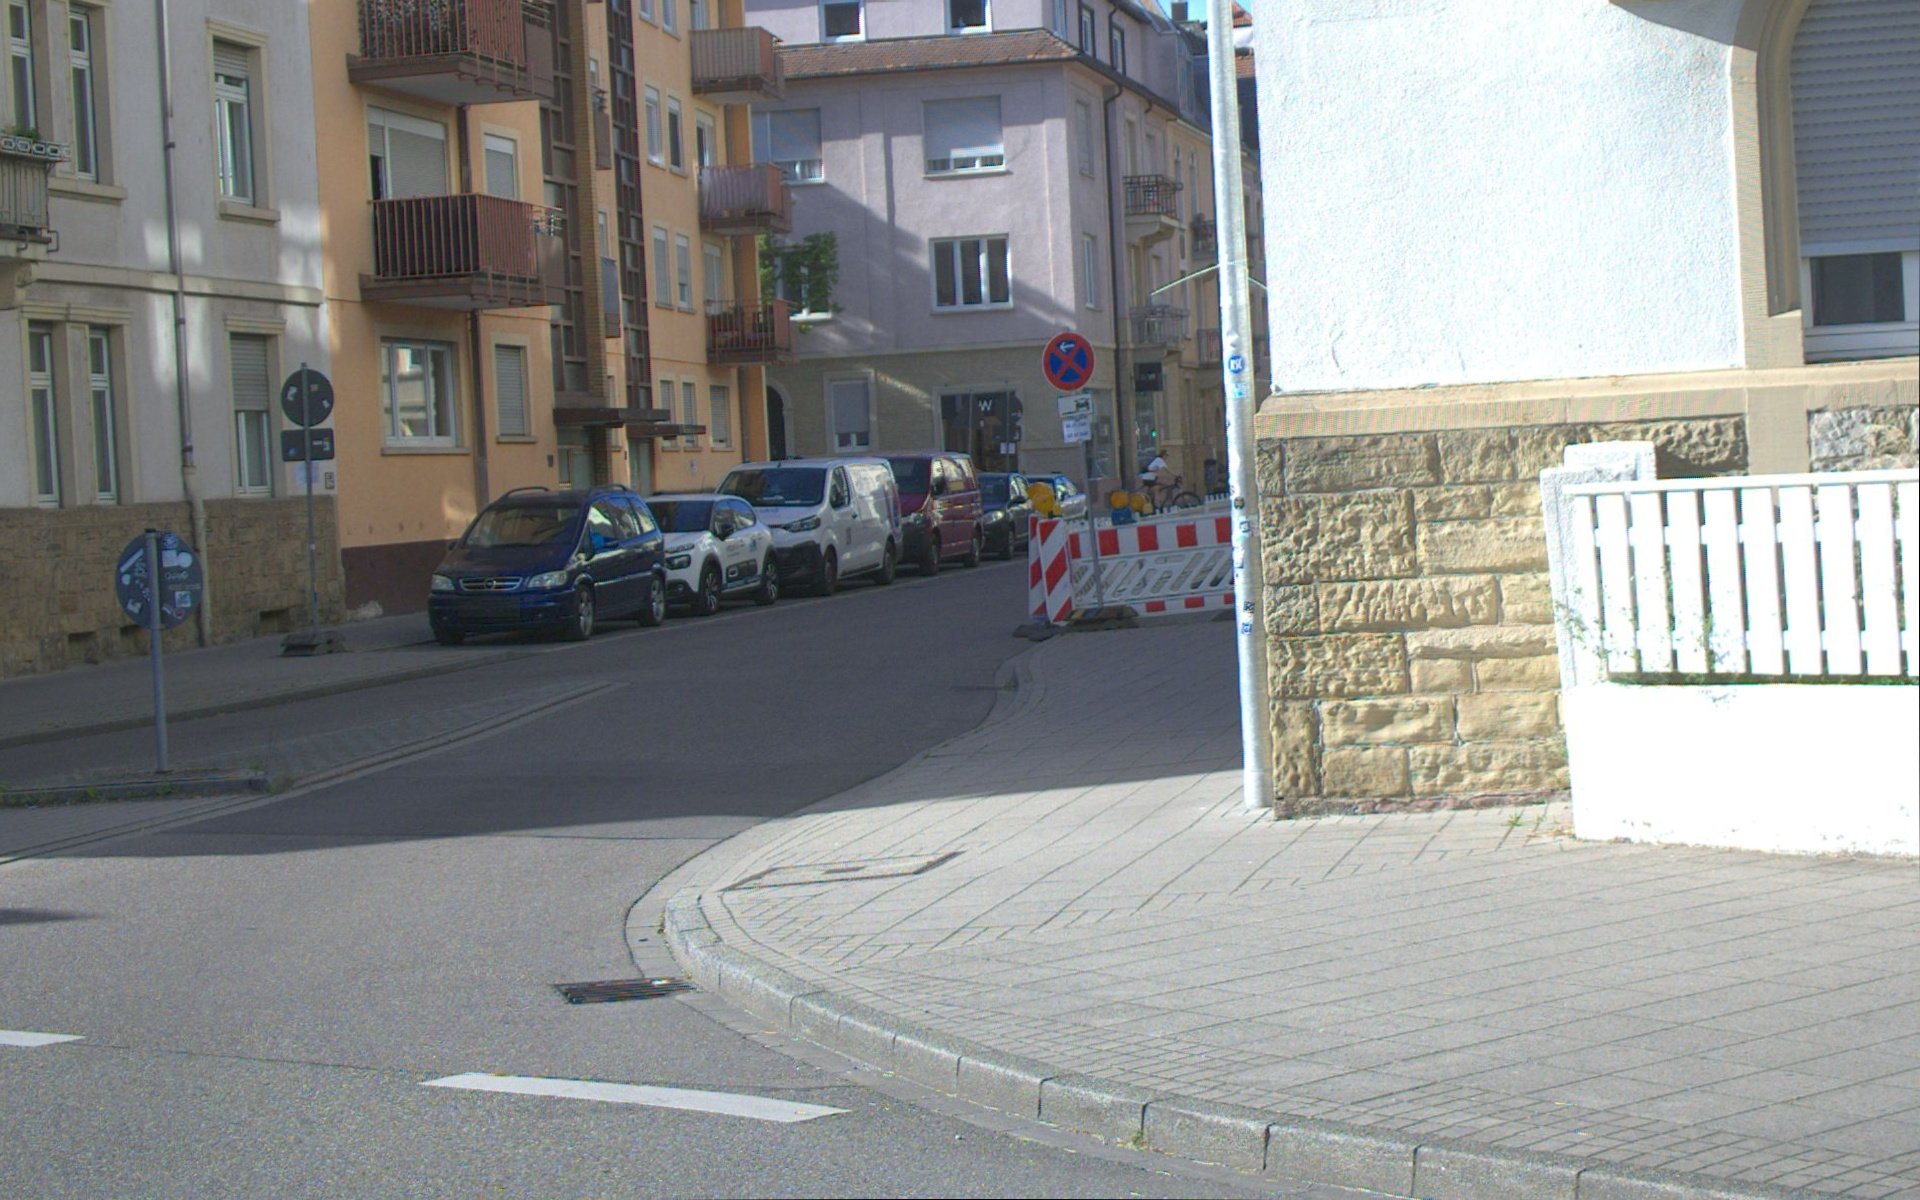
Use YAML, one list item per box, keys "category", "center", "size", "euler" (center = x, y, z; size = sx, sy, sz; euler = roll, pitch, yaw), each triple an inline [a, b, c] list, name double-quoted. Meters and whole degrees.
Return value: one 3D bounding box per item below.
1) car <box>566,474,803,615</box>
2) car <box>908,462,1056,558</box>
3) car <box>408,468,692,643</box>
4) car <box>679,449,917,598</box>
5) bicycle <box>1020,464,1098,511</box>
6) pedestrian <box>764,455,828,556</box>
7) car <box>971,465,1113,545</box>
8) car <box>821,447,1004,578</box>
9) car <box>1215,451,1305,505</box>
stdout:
- category: "car"
  center: [-3.453, -0.748, 43.944]
  size: [1.763, 1.615, 4.293]
  euler: [-2, 3, 13]
- category: "car"
  center: [0.424, -1.609, 60.568]
  size: [1.763, 1.497, 3.999]
  euler: [-3, 2, 12]
- category: "car"
  center: [-4.525, -0.547, 38.619]
  size: [1.763, 1.765, 4.292]
  euler: [-2, 3, 13]
- category: "car"
  center: [-2.229, -1.139, 48.975]
  size: [1.976, 1.918, 5.307]
  euler: [-2, 3, 13]
- category: "bicycle"
  center: [2.542, -2.880, 88.047]
  size: [1.899, 1.131, 0.648]
  euler: [-2, 4, 6]
- category: "pedestrian"
  center: [-3.016, -1.735, 63.251]
  size: [0.924, 1.811, 0.994]
  euler: [-2, 2, 10]
- category: "car"
  center: [1.614, -1.845, 65.926]
  size: [1.764, 1.372, 4.476]
  euler: [-1, 3, 14]
- category: "car"
  center: [-0.707, -1.444, 55.256]
  size: [1.763, 1.918, 4.933]
  euler: [-2, 3, 13]
- category: "car"
  center: [8.104, -3.293, 92.584]
  size: [1.680, 1.421, 4.271]
  euler: [0, 2, 15]
